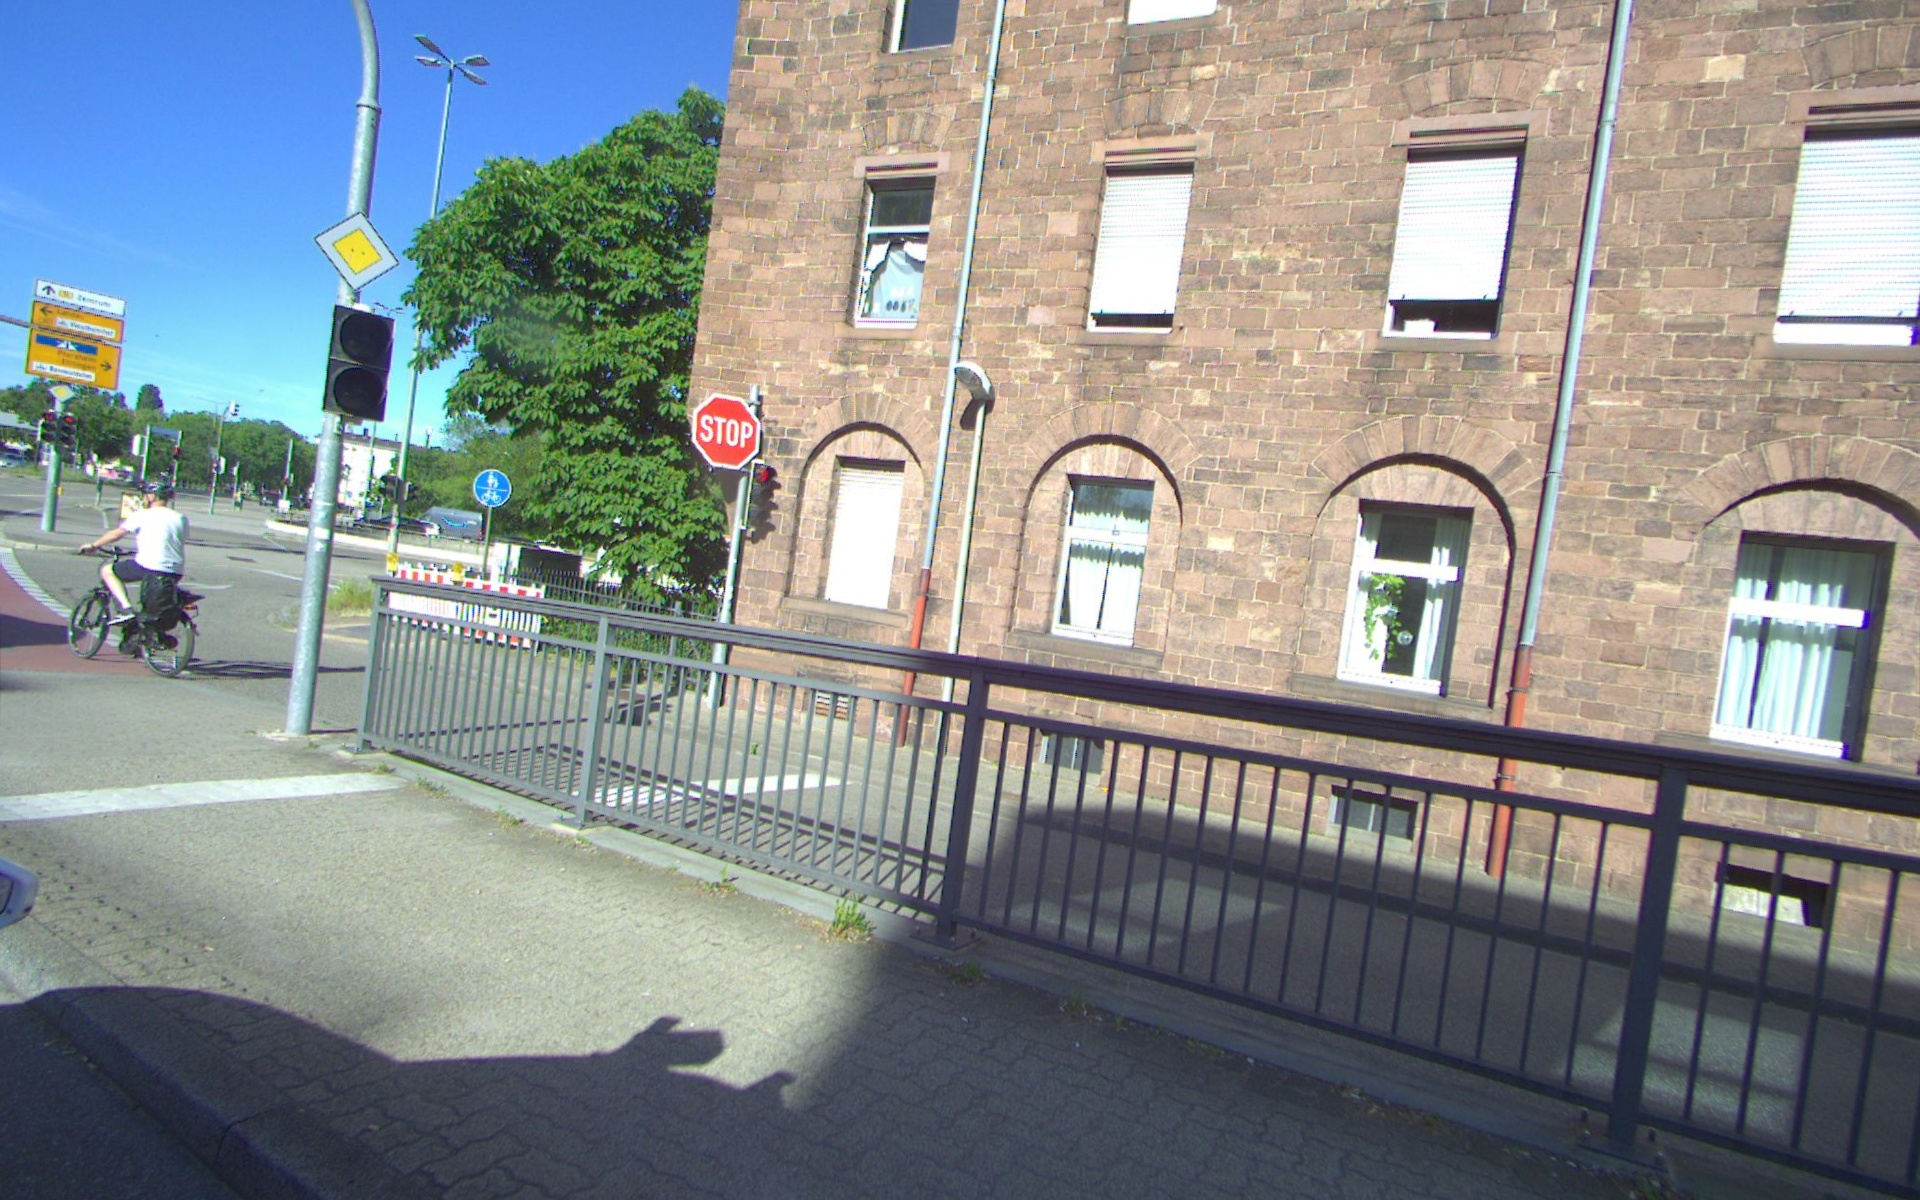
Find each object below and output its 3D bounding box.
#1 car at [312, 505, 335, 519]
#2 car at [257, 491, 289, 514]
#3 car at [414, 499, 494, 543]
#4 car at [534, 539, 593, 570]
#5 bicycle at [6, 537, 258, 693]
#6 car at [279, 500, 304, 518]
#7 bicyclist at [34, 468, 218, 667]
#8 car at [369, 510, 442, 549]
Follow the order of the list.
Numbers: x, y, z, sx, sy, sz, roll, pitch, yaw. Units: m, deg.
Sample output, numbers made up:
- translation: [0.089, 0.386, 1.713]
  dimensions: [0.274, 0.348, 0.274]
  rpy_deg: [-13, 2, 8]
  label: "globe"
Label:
- translation: [-90.475, -12.496, 143.036]
  dimensions: [1.975, 1.660, 3.975]
  rpy_deg: [7, 1, -24]
  label: "car"
- translation: [-73.310, -10.406, 107.362]
  dimensions: [1.975, 1.814, 3.979]
  rpy_deg: [8, -2, -24]
  label: "car"
- translation: [-39.447, -6.138, 78.515]
  dimensions: [4.797, 2.637, 2.262]
  rpy_deg: [7, -1, -2]
  label: "car"
- translation: [-31.386, -3.597, 79.728]
  dimensions: [3.939, 1.770, 1.995]
  rpy_deg: [8, -2, -15]
  label: "car"
- translation: [-7.984, 0.136, 9.678]
  dimensions: [2.358, 1.123, 0.802]
  rpy_deg: [8, -1, 24]
  label: "bicycle"
- translation: [-82.753, -11.267, 124.624]
  dimensions: [1.977, 1.816, 3.971]
  rpy_deg: [7, 1, -27]
  label: "car"
- translation: [-8.057, -0.302, 9.737]
  dimensions: [1.065, 1.725, 0.802]
  rpy_deg: [8, 0, 24]
  label: "bicyclist"
- translation: [-38.995, -4.914, 70.823]
  dimensions: [3.939, 2.037, 1.995]
  rpy_deg: [8, -2, -15]
  label: "car"
